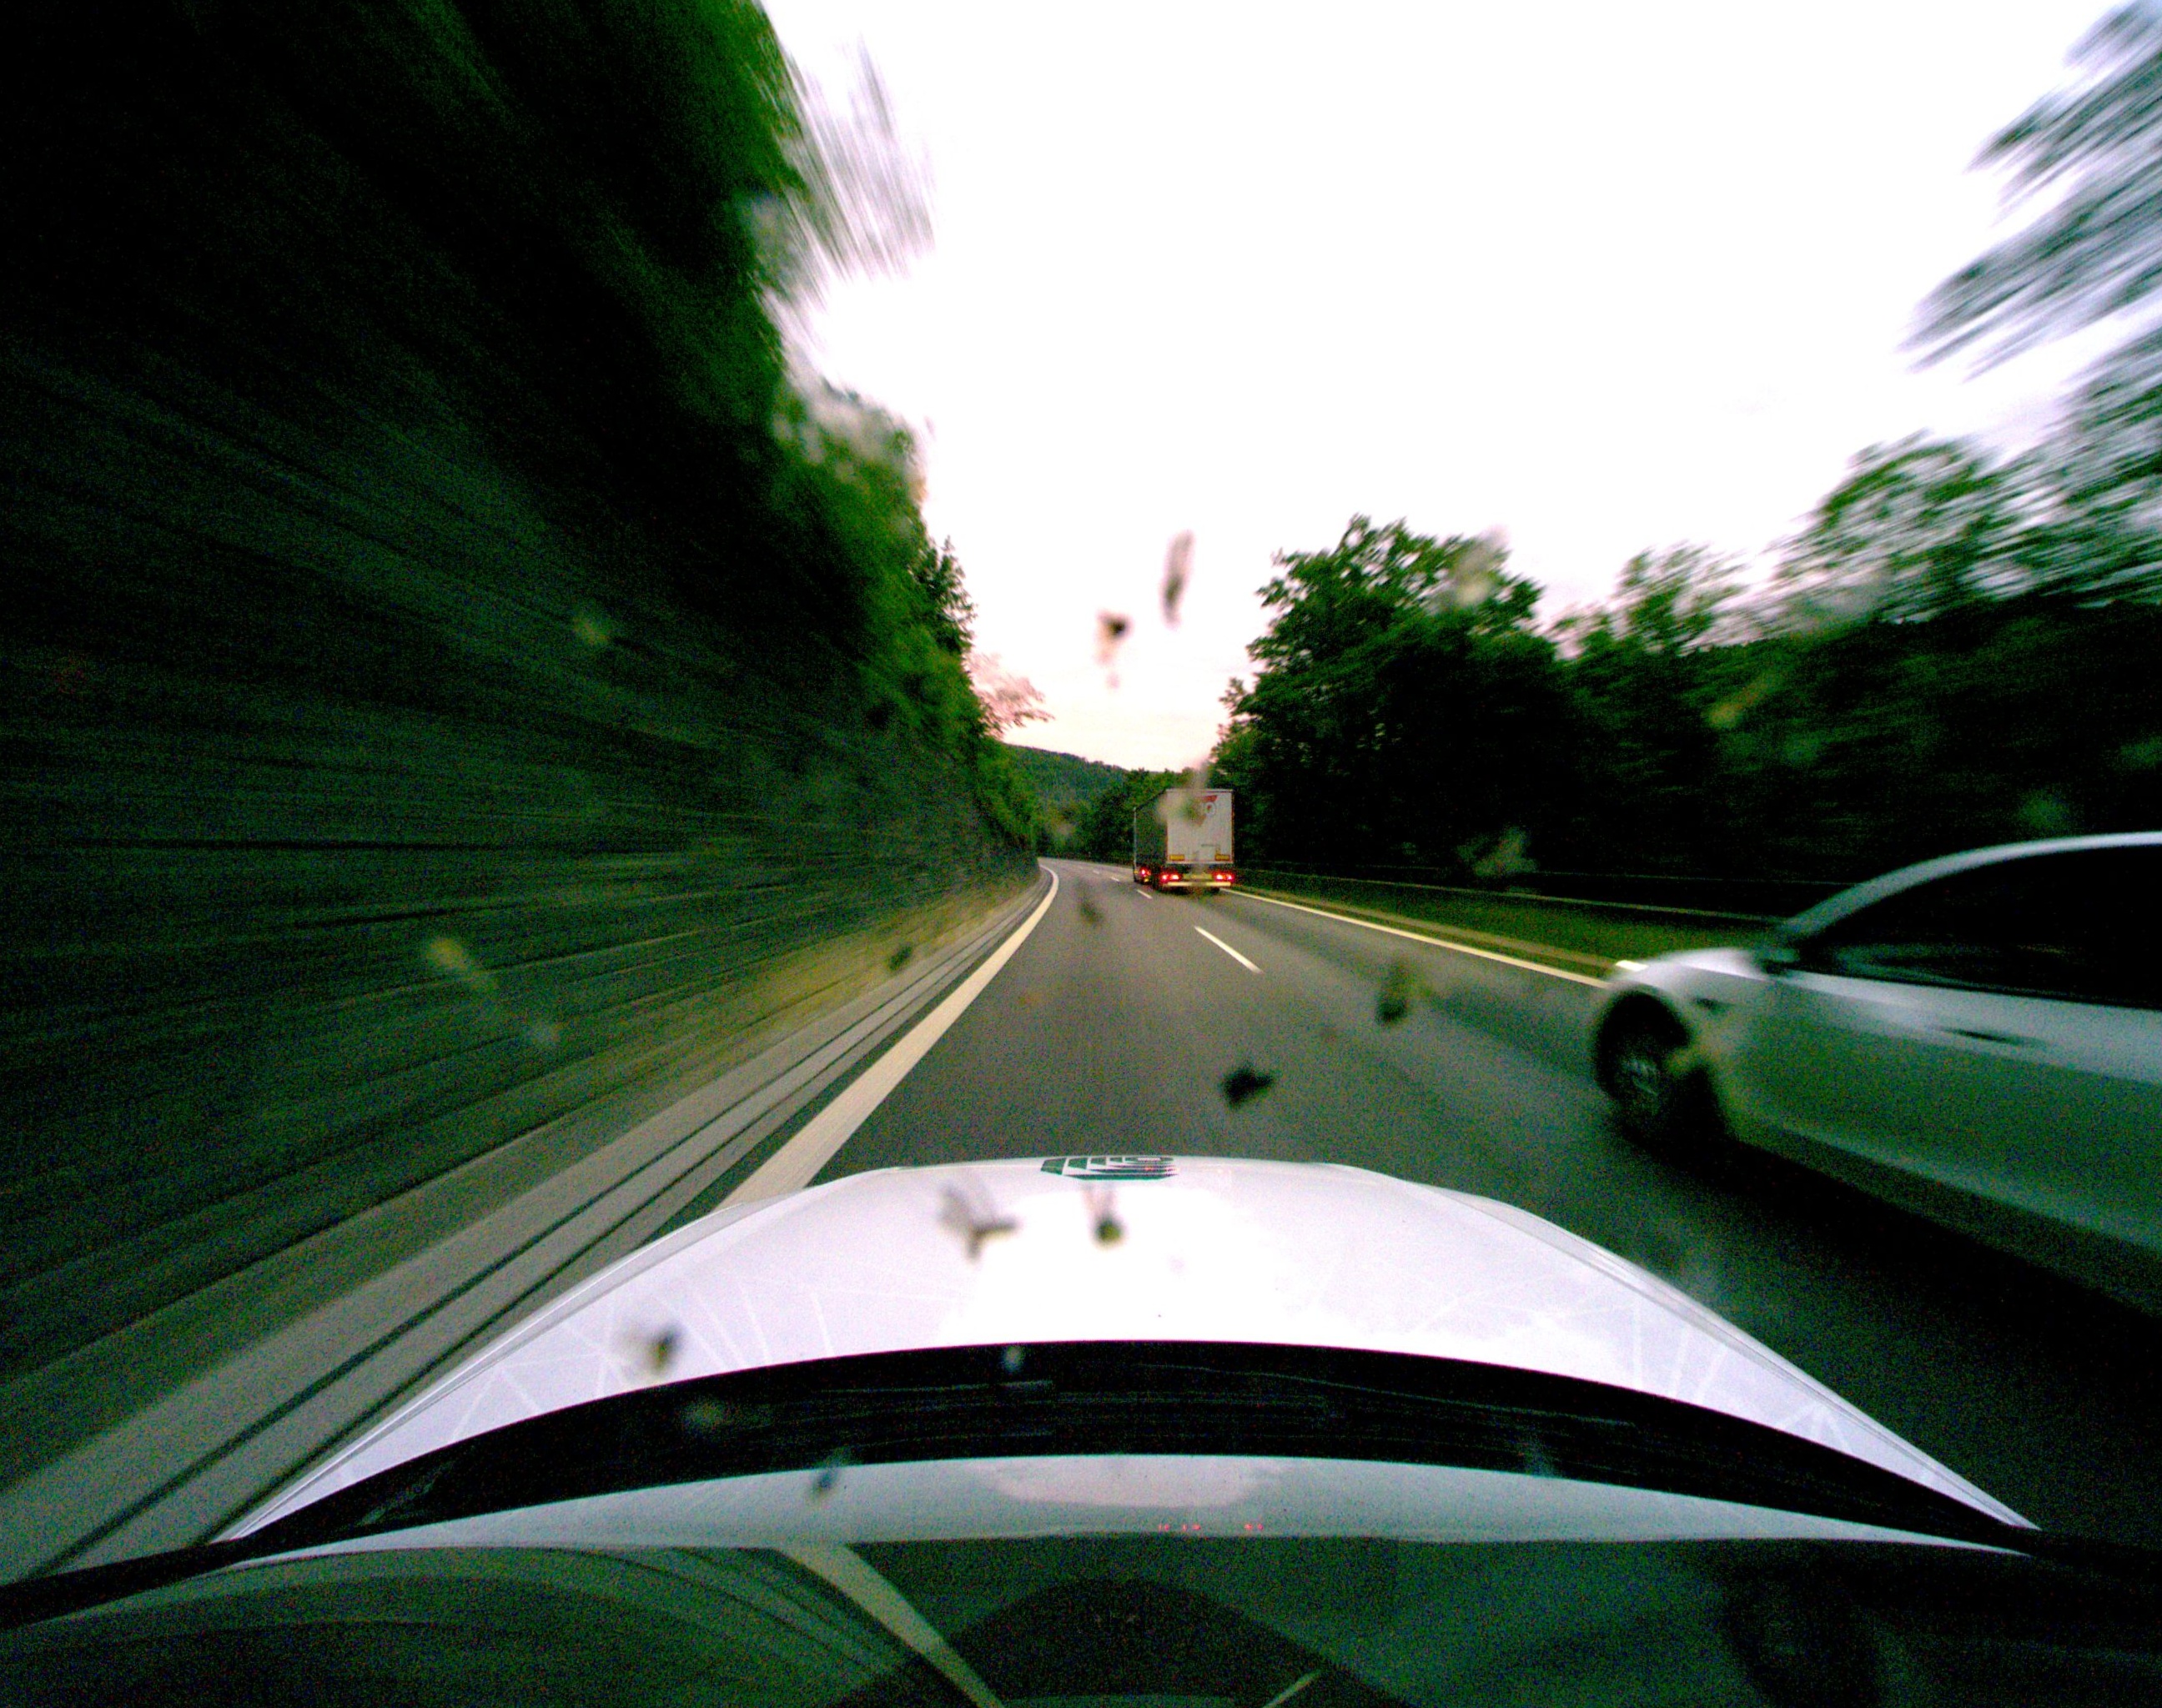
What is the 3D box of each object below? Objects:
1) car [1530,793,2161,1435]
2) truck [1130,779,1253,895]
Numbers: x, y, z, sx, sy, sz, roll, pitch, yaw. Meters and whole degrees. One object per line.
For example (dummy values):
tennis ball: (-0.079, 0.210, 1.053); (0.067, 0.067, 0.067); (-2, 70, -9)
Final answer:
car: (3.750, 0.661, 2.756); (1.985, 1.614, 4.868); (0, 0, 3)
truck: (4.494, -0.588, 37.705); (3.285, 4.173, 16.496); (0, 0, -1)
